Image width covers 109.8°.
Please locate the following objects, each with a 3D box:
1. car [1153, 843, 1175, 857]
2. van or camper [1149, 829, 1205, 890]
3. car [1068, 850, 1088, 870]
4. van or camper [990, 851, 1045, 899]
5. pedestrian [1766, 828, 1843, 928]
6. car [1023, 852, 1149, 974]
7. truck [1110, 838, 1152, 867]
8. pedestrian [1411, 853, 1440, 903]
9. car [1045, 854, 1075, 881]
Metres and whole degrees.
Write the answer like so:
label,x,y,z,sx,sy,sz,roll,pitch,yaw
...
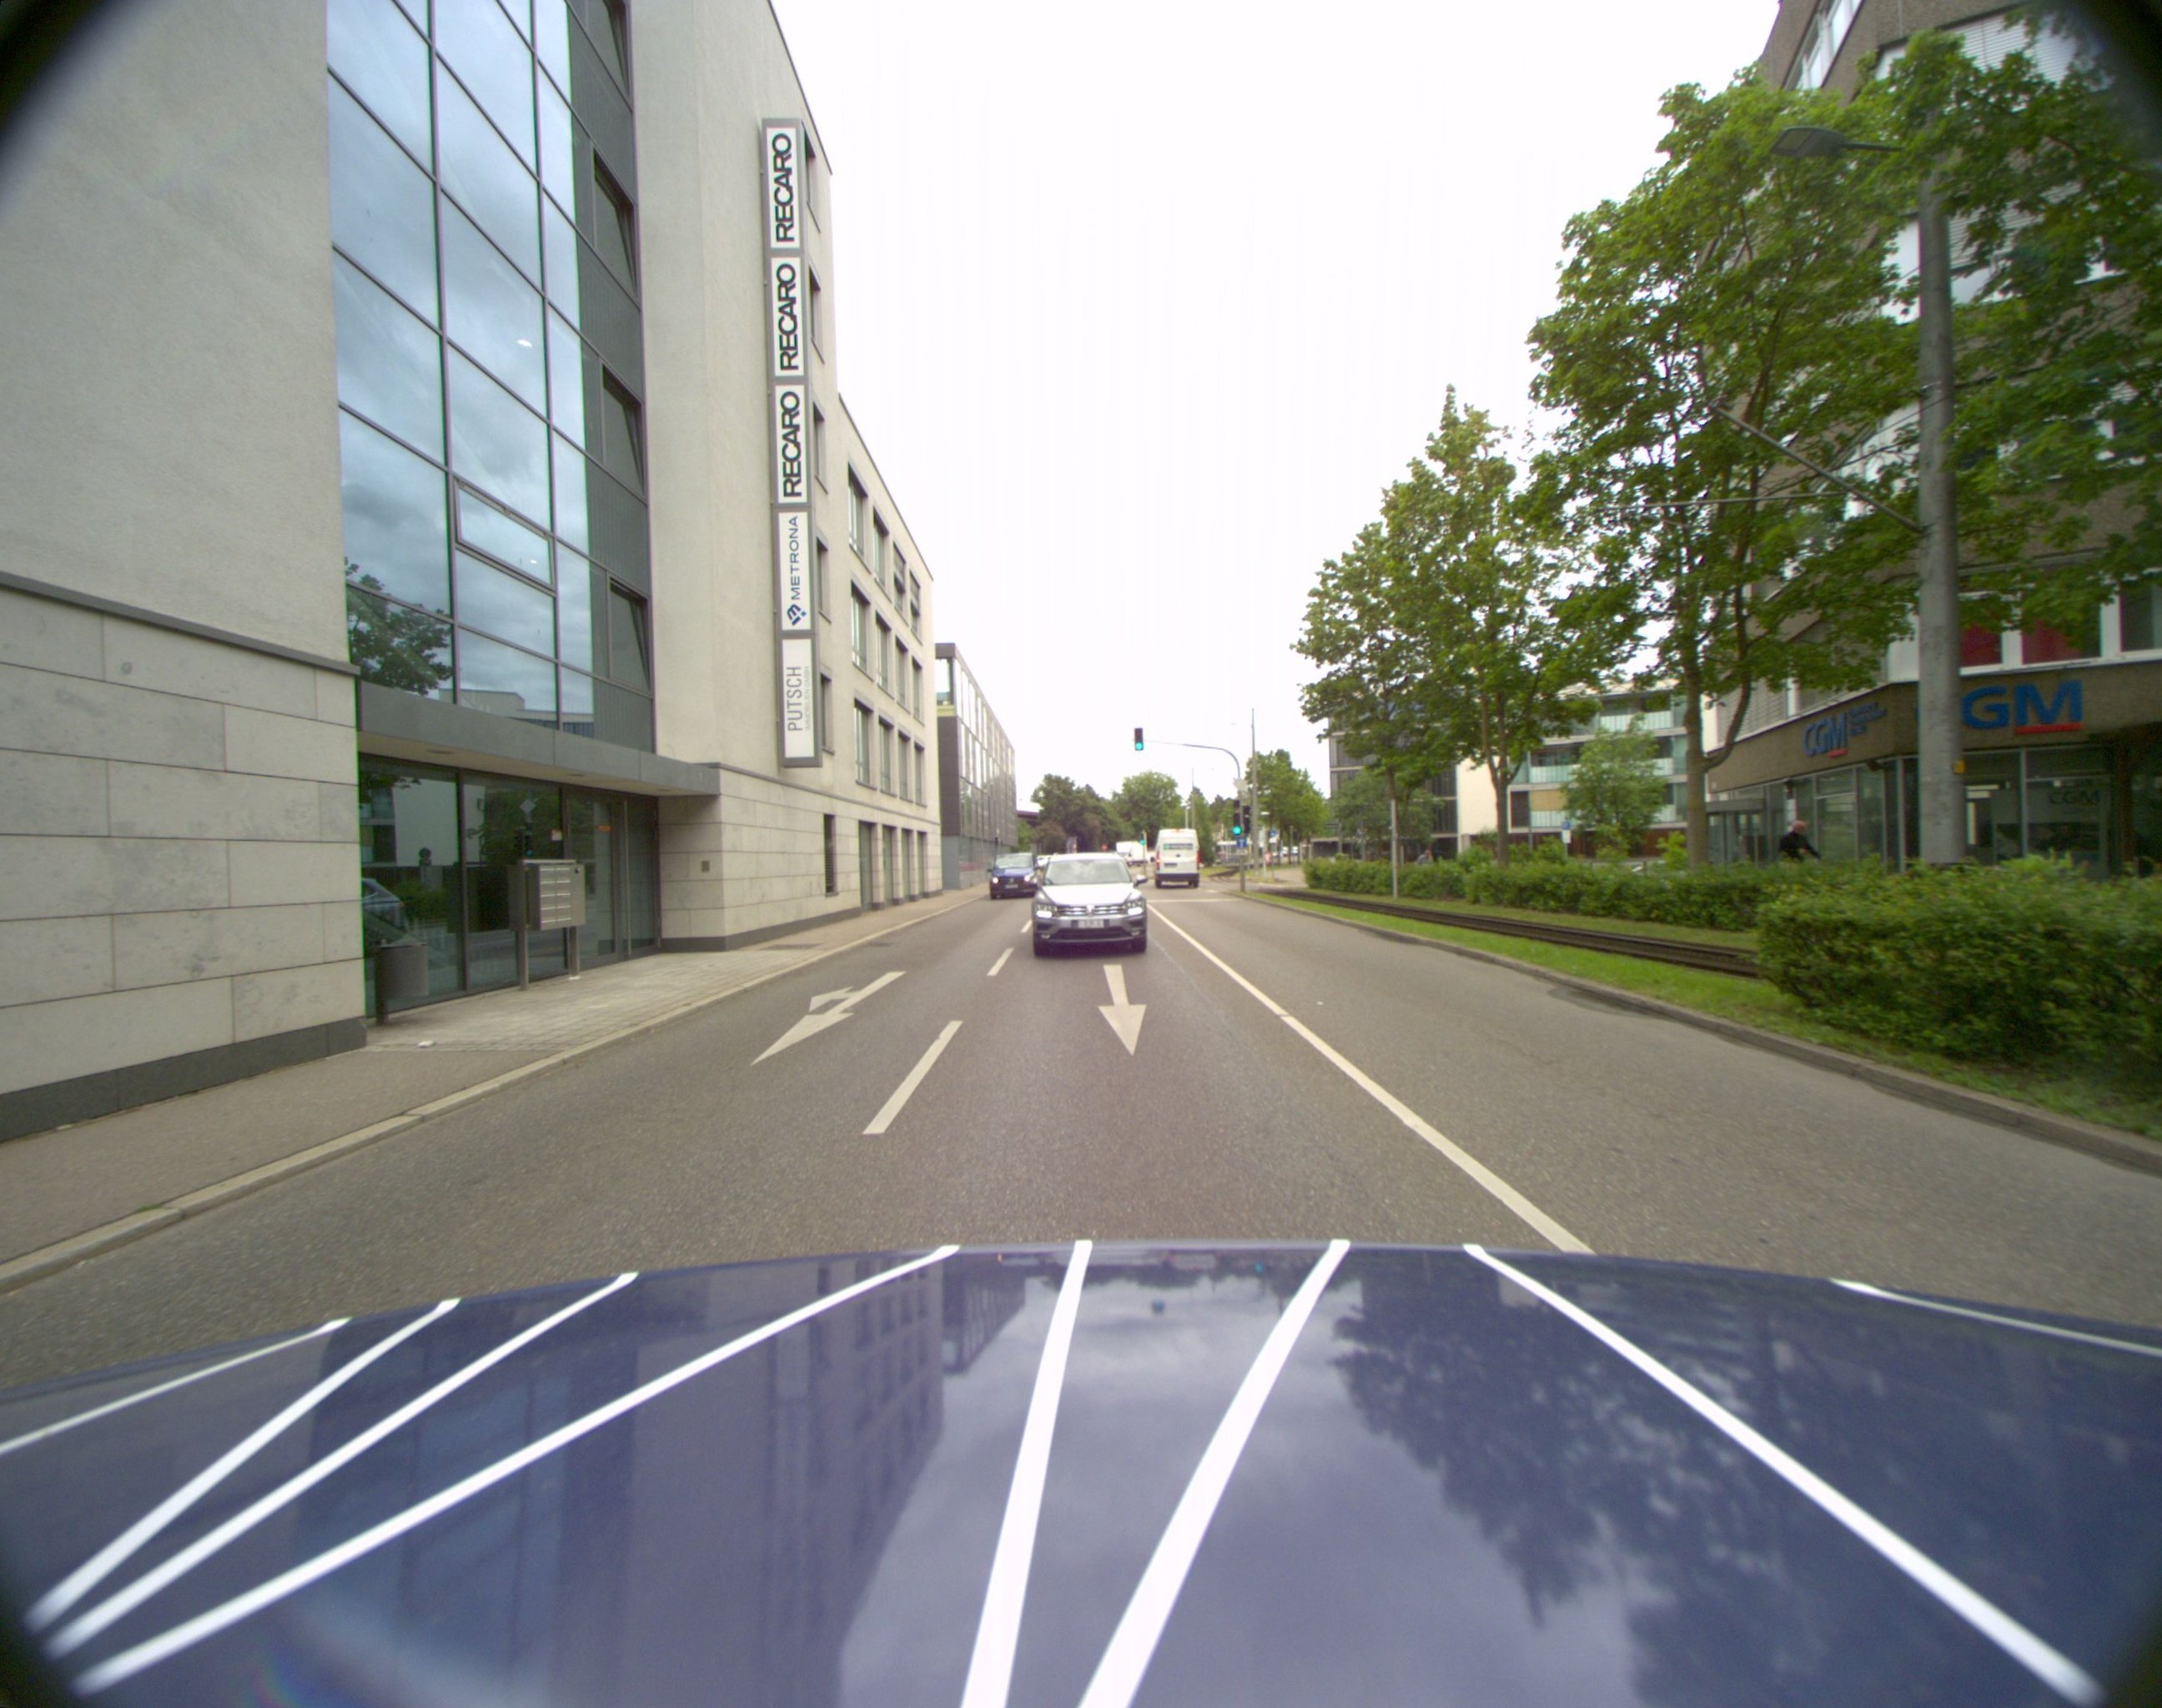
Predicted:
label,x,y,z,sx,sy,sz,roll,pitch,yaw
car,12.541,-0.593,114.612,1.995,2.002,4.006,-2,1,24
van or camper,4.713,0.218,38.175,2.112,2.718,6.151,-2,1,2
car,-0.337,0.604,82.385,1.998,2.002,3.999,-2,1,1
van or camper,-2.665,0.835,32.964,1.864,1.900,5.031,-2,0,0
pedestrian,14.132,0.450,14.856,0.776,1.883,0.731,-3,1,-1
car,0.083,0.861,13.367,1.798,1.716,4.458,-2,0,0
truck,6.878,-0.304,103.475,2.317,3.626,8.023,-2,1,30
pedestrian,12.703,0.873,28.026,0.680,1.795,0.731,-3,1,-4
car,-1.564,0.975,57.177,1.998,1.805,3.999,-2,1,1
